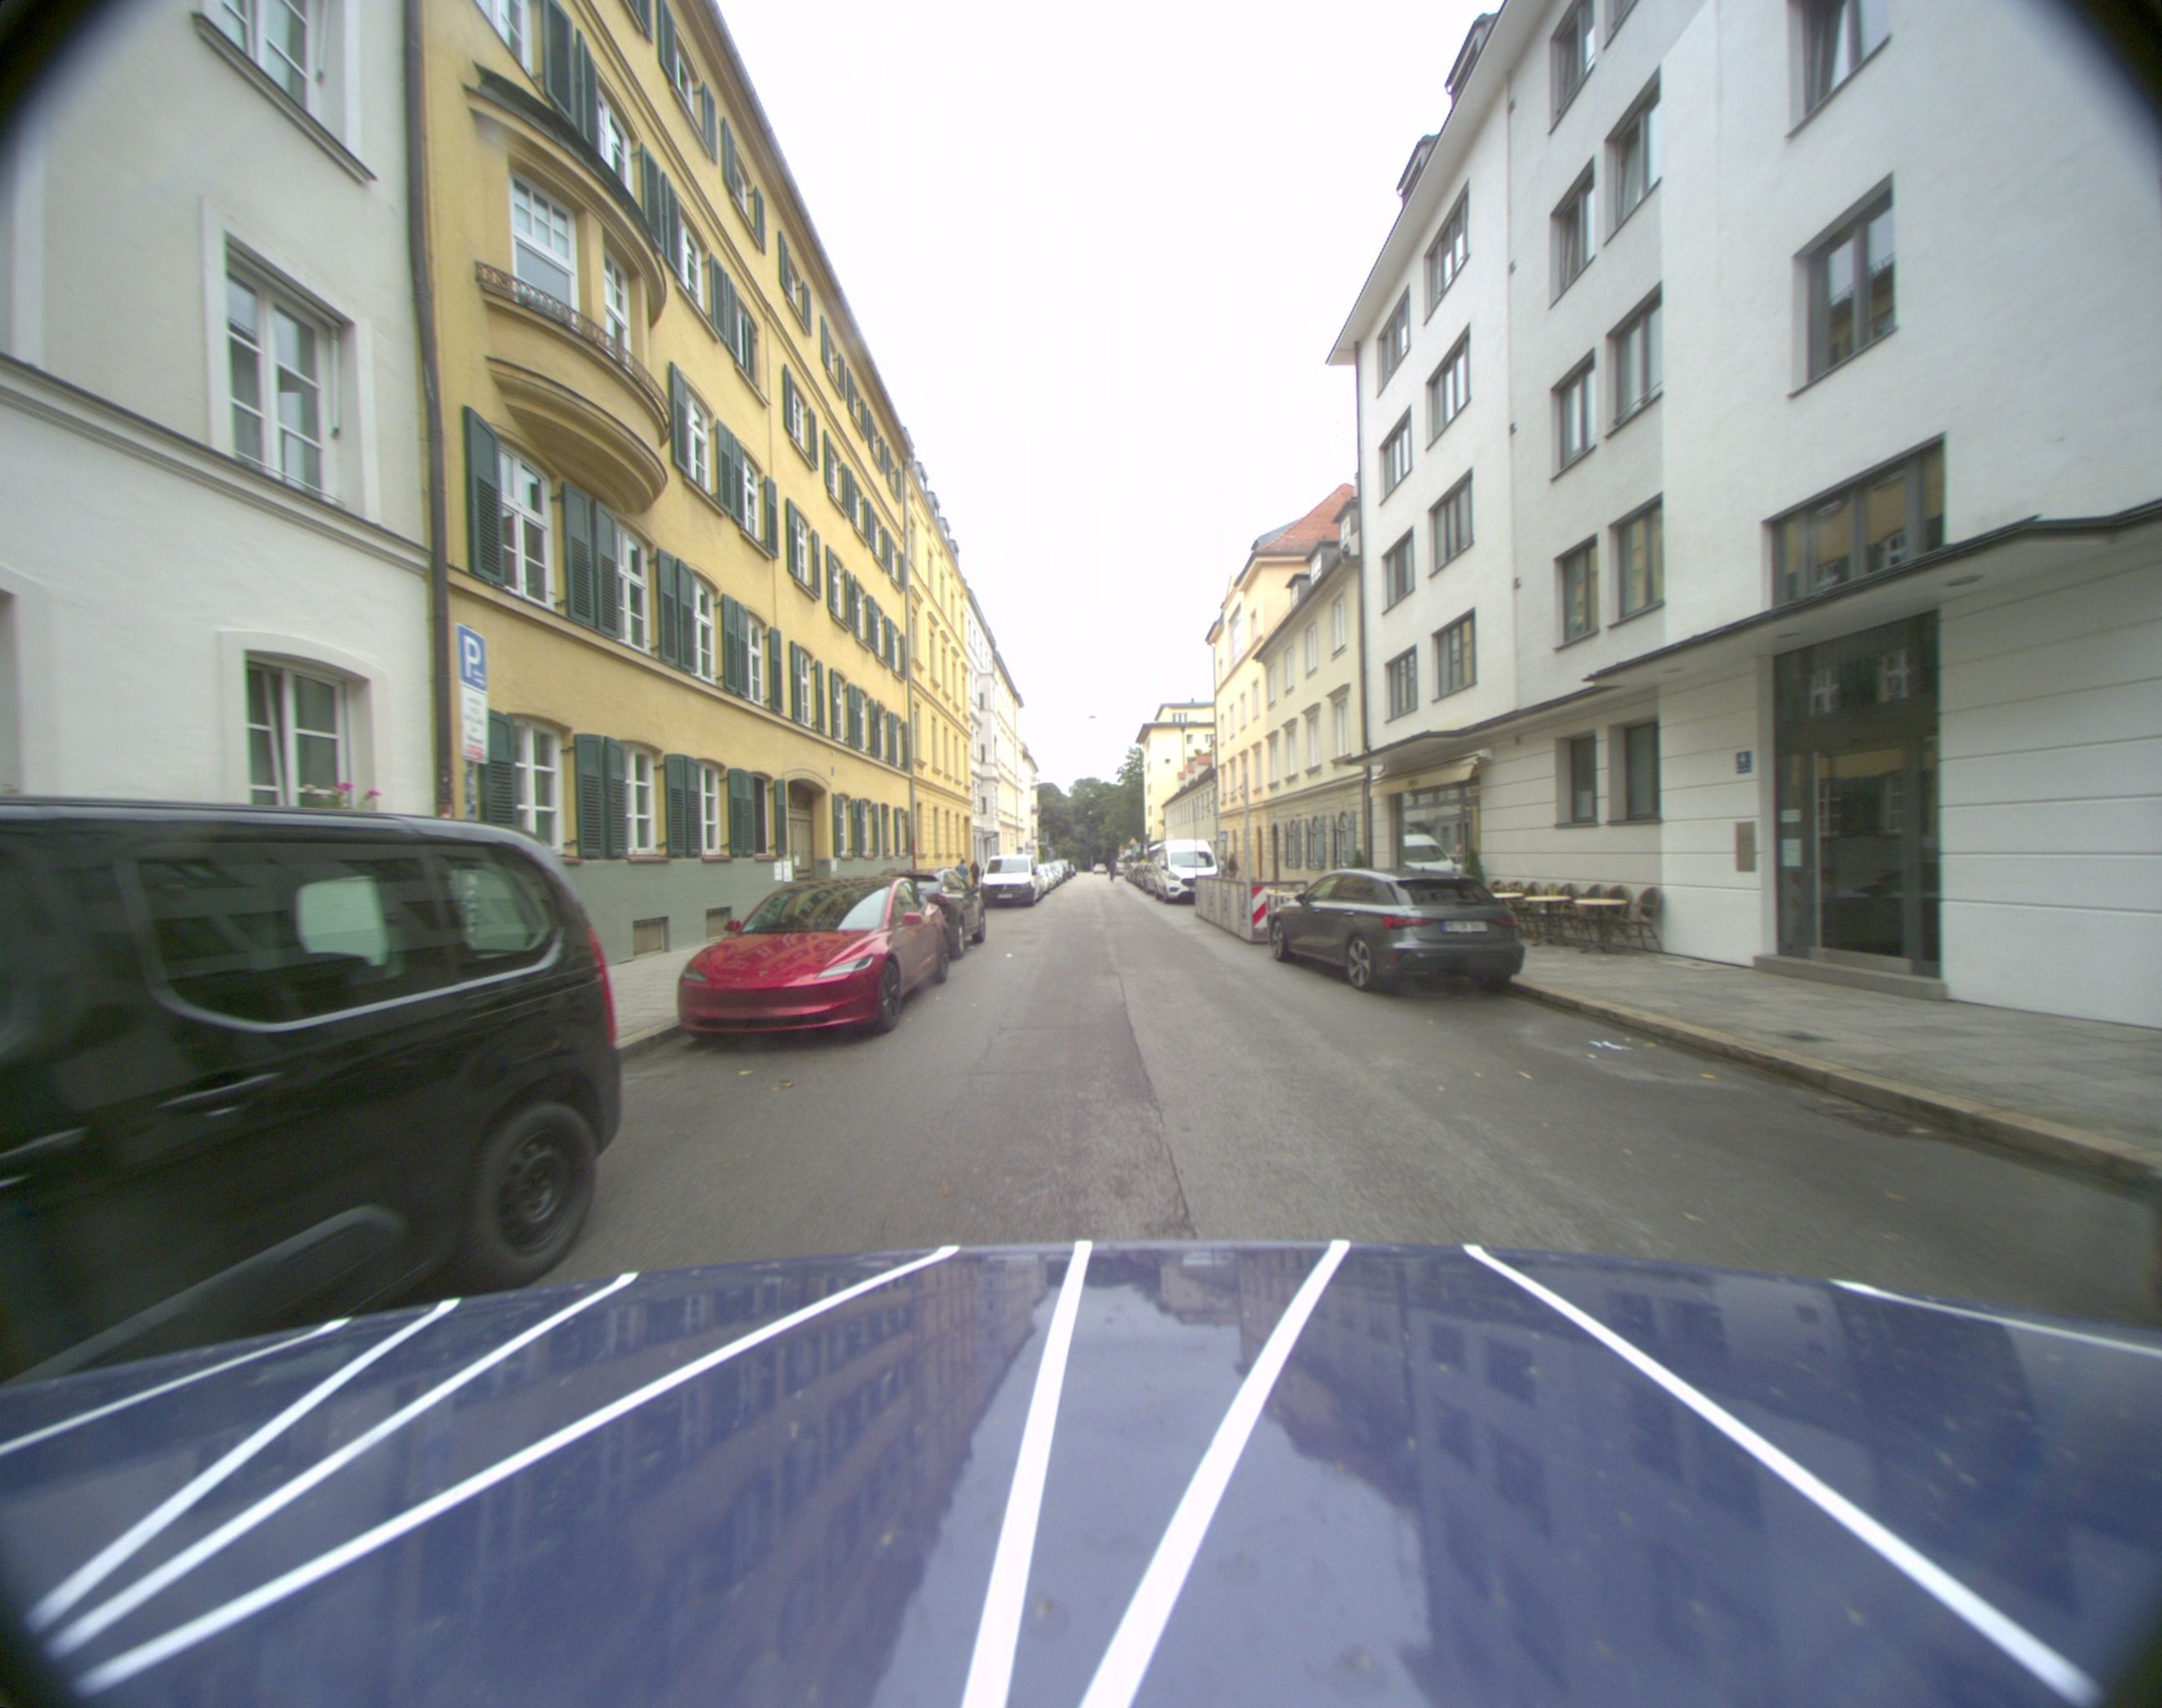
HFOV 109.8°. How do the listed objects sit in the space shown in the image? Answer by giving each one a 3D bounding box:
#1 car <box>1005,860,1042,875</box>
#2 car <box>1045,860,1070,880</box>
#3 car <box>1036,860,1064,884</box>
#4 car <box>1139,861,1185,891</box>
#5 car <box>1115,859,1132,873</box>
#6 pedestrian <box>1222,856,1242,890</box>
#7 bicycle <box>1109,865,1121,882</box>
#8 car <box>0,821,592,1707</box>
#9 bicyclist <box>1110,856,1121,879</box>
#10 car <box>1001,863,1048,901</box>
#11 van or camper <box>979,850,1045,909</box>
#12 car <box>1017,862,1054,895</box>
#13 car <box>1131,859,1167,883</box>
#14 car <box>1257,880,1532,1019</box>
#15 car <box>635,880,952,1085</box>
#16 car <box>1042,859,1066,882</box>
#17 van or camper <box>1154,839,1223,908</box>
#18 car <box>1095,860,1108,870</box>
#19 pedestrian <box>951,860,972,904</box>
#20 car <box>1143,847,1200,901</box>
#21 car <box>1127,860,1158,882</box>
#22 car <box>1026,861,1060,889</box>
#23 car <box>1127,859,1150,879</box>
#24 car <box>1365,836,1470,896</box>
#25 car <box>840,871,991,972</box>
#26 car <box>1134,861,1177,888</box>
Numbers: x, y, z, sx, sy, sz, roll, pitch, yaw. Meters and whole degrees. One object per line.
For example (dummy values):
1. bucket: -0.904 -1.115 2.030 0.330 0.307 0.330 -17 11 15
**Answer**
1. car: -6.324 1.457 83.660 3.998 1.556 1.712 -1 0 -2
2. car: -1.880 1.286 61.893 1.721 1.557 4.143 -1 0 1
3. car: -2.043 1.173 50.705 1.721 1.501 3.936 -1 0 0
4. car: 4.114 1.109 39.220 1.862 1.393 4.269 -2 0 -1
5. car: 4.752 1.337 85.190 1.711 1.490 4.000 -1 0 0
6. pedestrian: 7.542 0.945 38.023 0.807 1.701 1.022 -1 0 2
7. bicycle: 2.452 1.397 54.634 0.734 1.144 1.999 -1 0 0
8. car: -3.024 0.874 1.050 1.851 1.766 4.200 -3 0 0
9. bicyclist: 2.440 0.973 54.259 0.688 1.618 0.853 -2 0 0
10. car: -2.449 1.182 33.784 1.820 1.501 4.587 -1 0 -1
11. van or camper: -2.499 0.887 28.771 1.998 2.002 5.233 -1 0 0
12. car: -2.273 1.196 38.471 1.627 1.501 3.761 -1 0 0
13. car: 4.363 1.084 49.248 1.862 1.393 4.269 -2 0 -1
14. car: 3.777 1.064 10.015 1.644 1.346 4.057 0 0 -6
15. car: -2.639 1.087 8.209 1.718 1.415 4.457 -1 0 0
16. car: -2.002 1.226 57.265 1.721 1.592 4.323 -1 0 -1
17. van or camper: 3.939 0.660 28.612 1.998 2.298 5.479 -1 0 2
18. car: 2.972 1.549 110.330 1.793 1.409 3.905 0 0 0
19. pedestrian: -4.477 1.039 28.575 0.598 1.629 0.896 2 0 -1
20. car: 3.952 0.829 33.817 1.862 2.188 4.561 -2 0 -1
21. car: 4.427 1.207 55.011 1.862 1.393 4.269 -2 0 0
22. car: -2.210 1.217 44.997 1.721 1.501 4.469 -1 0 1
23. car: 4.578 1.164 60.616 1.573 1.505 3.424 -2 0 1
24. car: 12.225 0.400 27.947 1.998 2.002 4.400 -1 0 2
25. car: -2.770 1.083 13.648 1.750 1.455 4.000 -1 0 1
26. car: 4.267 1.130 43.987 1.862 1.393 4.268 -2 0 -2
